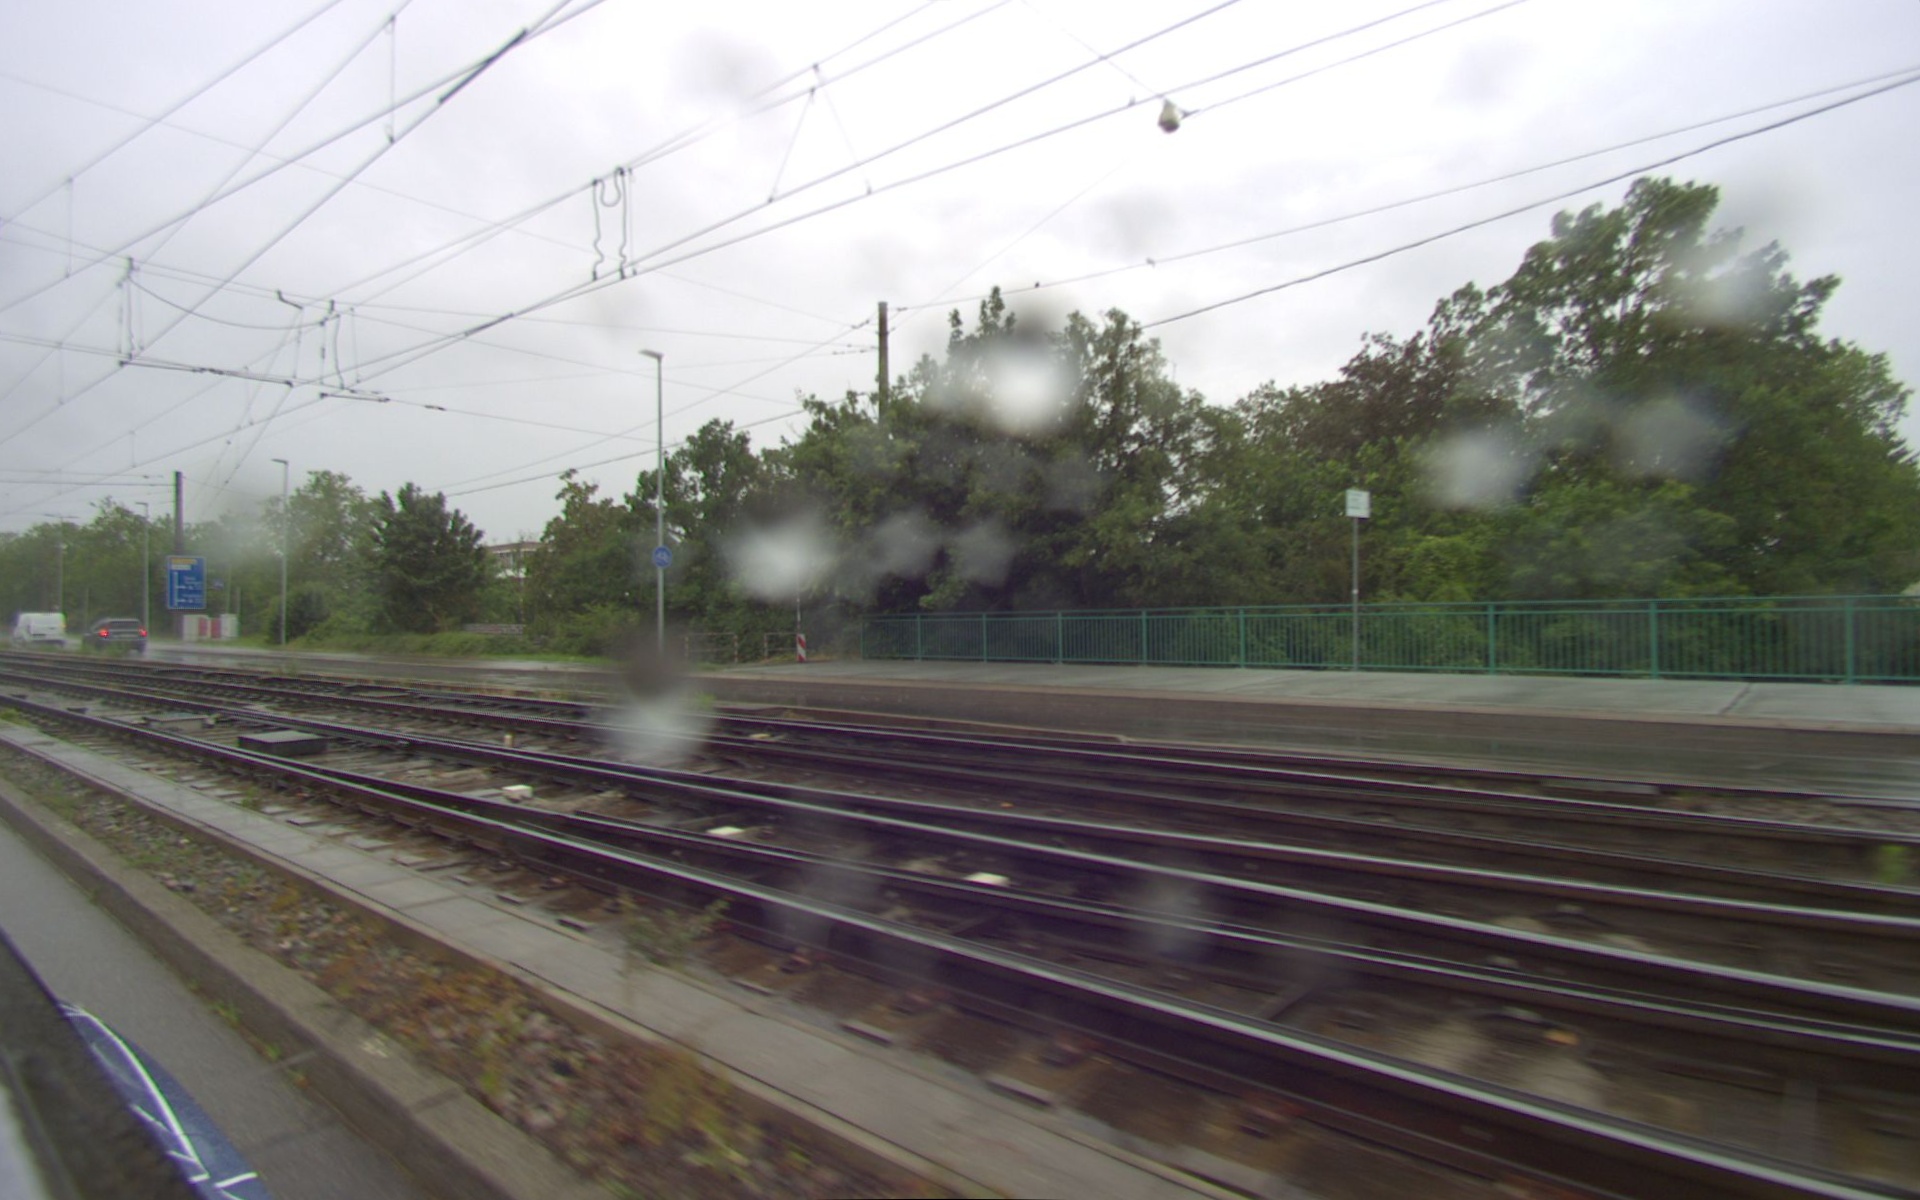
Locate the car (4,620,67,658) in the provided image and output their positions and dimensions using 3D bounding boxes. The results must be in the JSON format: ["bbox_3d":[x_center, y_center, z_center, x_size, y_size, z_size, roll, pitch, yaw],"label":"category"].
[{"bbox_3d":[-54.942,2.304,60.126,5.022,2.059,1.974,-2,0,39],"label":"car"}]

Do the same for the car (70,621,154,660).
[{"bbox_3d":[-39.671,1.884,47.283,5.365,1.661,1.974,-2,0,39],"label":"car"}]
